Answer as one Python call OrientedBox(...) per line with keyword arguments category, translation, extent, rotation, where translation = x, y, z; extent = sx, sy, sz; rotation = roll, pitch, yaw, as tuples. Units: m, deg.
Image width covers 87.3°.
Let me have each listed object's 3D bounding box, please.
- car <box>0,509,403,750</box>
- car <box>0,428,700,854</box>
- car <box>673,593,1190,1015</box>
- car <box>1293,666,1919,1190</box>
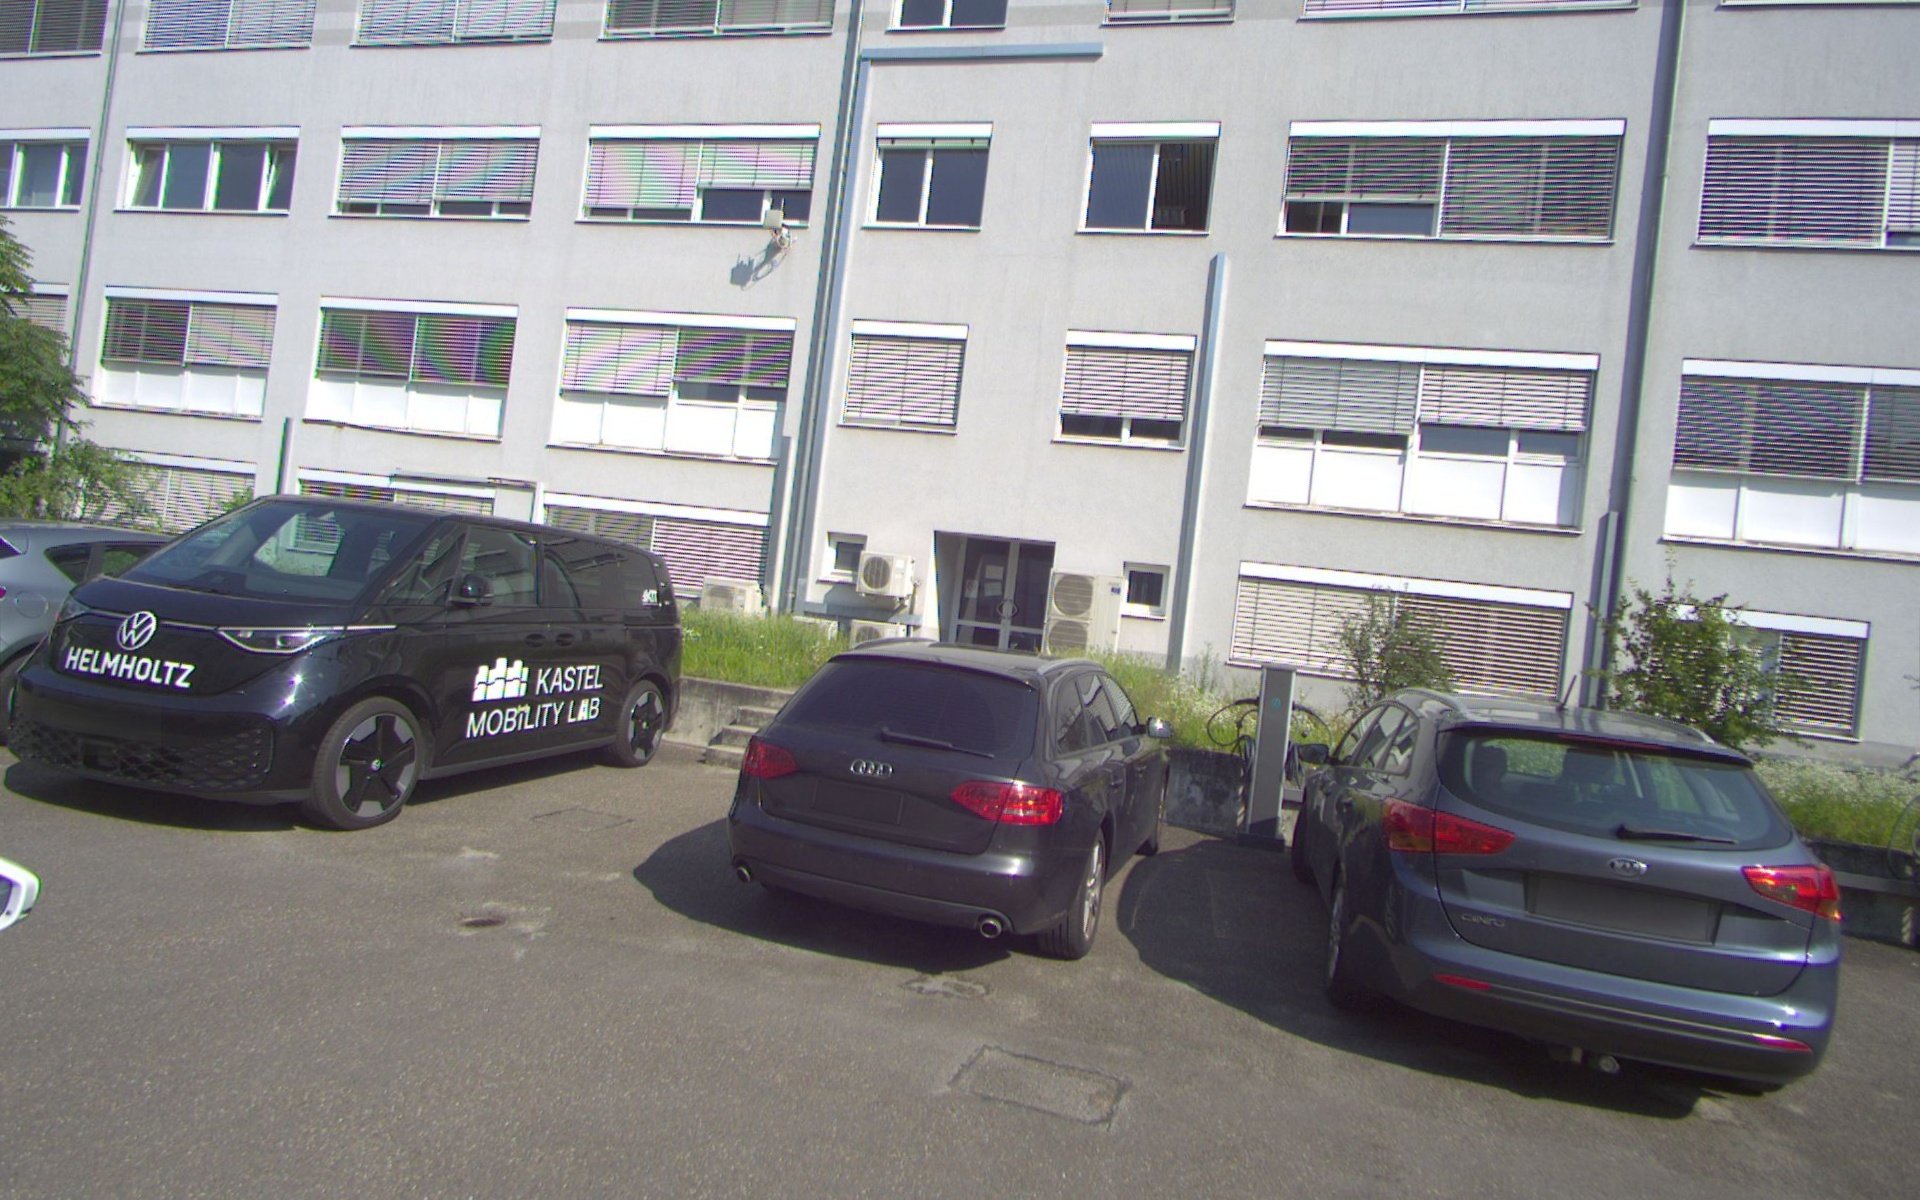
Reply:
OrientedBox(category="car", translation=(-6.489, 0.164, 7.842), extent=(1.631, 1.483, 3.913), rotation=(7, -2, 7))
OrientedBox(category="car", translation=(-3.775, 0.276, 7.095), extent=(1.878, 1.880, 4.354), rotation=(7, -1, 11))
OrientedBox(category="car", translation=(0.274, 0.934, 6.169), extent=(1.659, 1.454, 4.249), rotation=(7, -2, 19))
OrientedBox(category="car", translation=(2.905, 1.220, 5.492), extent=(1.709, 1.495, 4.064), rotation=(7, -2, 16))
